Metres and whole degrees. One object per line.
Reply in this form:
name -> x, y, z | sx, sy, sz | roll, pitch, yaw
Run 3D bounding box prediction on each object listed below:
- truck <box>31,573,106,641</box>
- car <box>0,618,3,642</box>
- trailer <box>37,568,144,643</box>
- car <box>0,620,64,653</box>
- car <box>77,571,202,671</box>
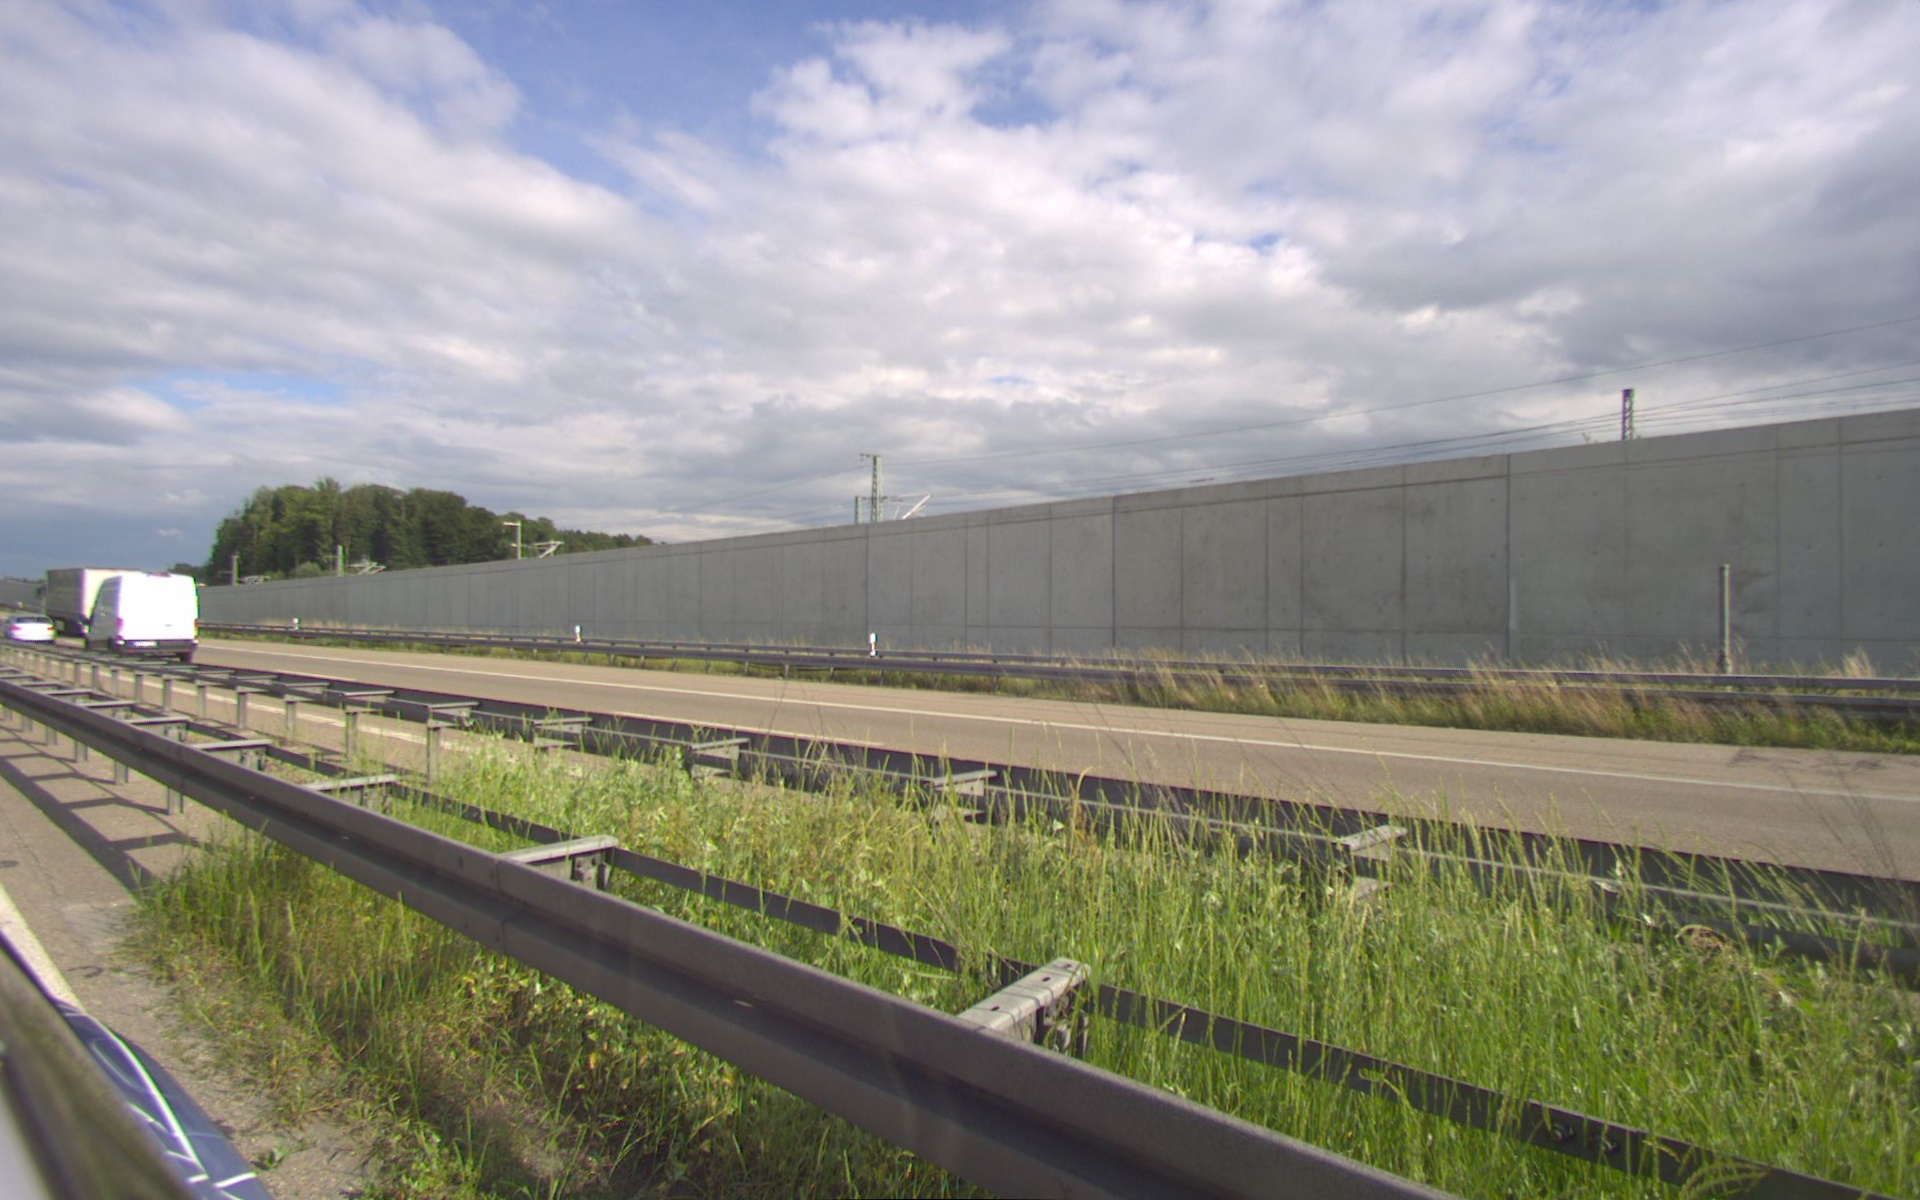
truck -> -57.162, 0.504, 64.872 | 5.528, 4.119, 2.747 | -1, -3, 41
car -> -60.245, 1.841, 62.225 | 3.953, 1.462, 1.635 | -1, -1, 40
trailer -> -52.272, 0.434, 60.658 | 13.511, 4.108, 2.761 | -1, -3, 41
car -> -42.947, 1.653, 46.703 | 4.230, 1.462, 1.854 | -1, -1, 41
car -> -25.977, 0.654, 31.952 | 5.633, 2.892, 2.082 | -1, -1, 41
